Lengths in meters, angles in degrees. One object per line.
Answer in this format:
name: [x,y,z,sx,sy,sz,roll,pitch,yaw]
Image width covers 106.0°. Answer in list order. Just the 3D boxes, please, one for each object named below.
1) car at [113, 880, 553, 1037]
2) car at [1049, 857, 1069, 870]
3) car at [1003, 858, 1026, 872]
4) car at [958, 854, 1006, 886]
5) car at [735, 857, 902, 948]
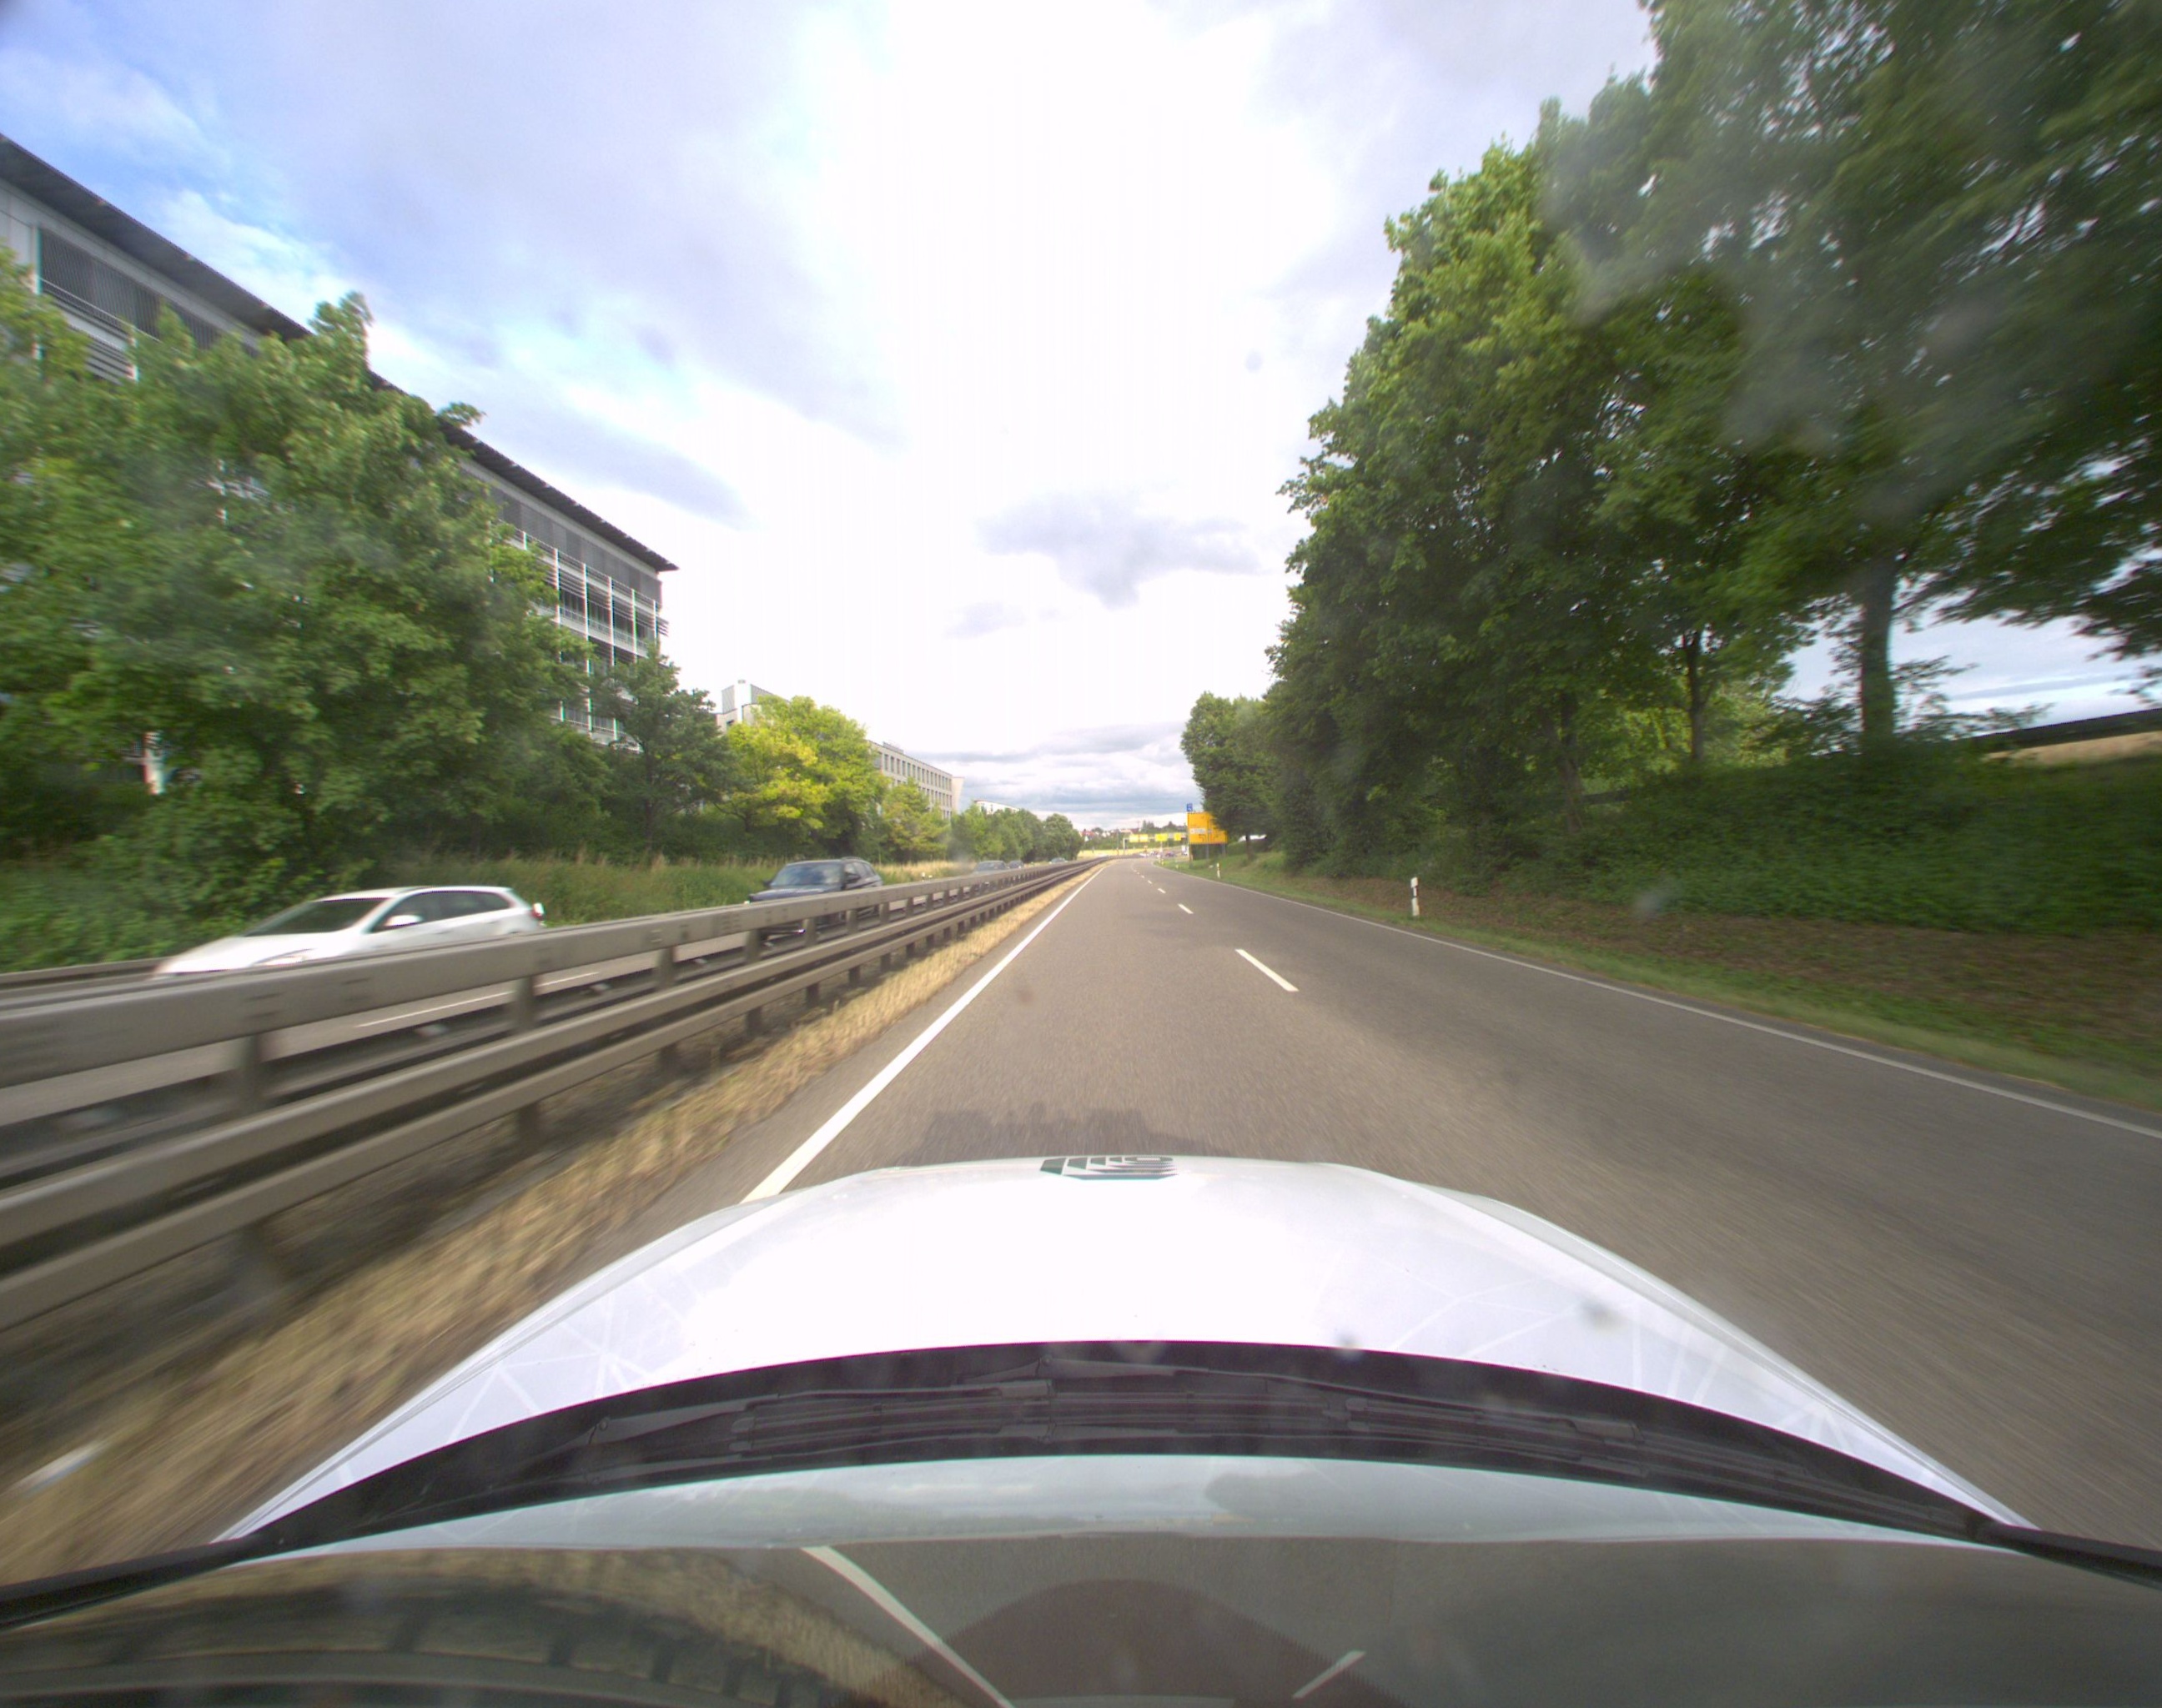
car: [-9.713,1.230,11.217,1.810,1.485,4.419,-4,0,2]
car: [-2.357,1.028,88.679,1.828,1.379,4.568,-1,0,2]
car: [-7.037,1.155,86.650,1.749,1.422,4.570,-1,0,3]
car: [-5.040,0.800,41.816,1.736,1.458,4.313,-4,0,2]
car: [-5.517,0.928,17.947,1.736,1.645,5.282,-2,0,2]
